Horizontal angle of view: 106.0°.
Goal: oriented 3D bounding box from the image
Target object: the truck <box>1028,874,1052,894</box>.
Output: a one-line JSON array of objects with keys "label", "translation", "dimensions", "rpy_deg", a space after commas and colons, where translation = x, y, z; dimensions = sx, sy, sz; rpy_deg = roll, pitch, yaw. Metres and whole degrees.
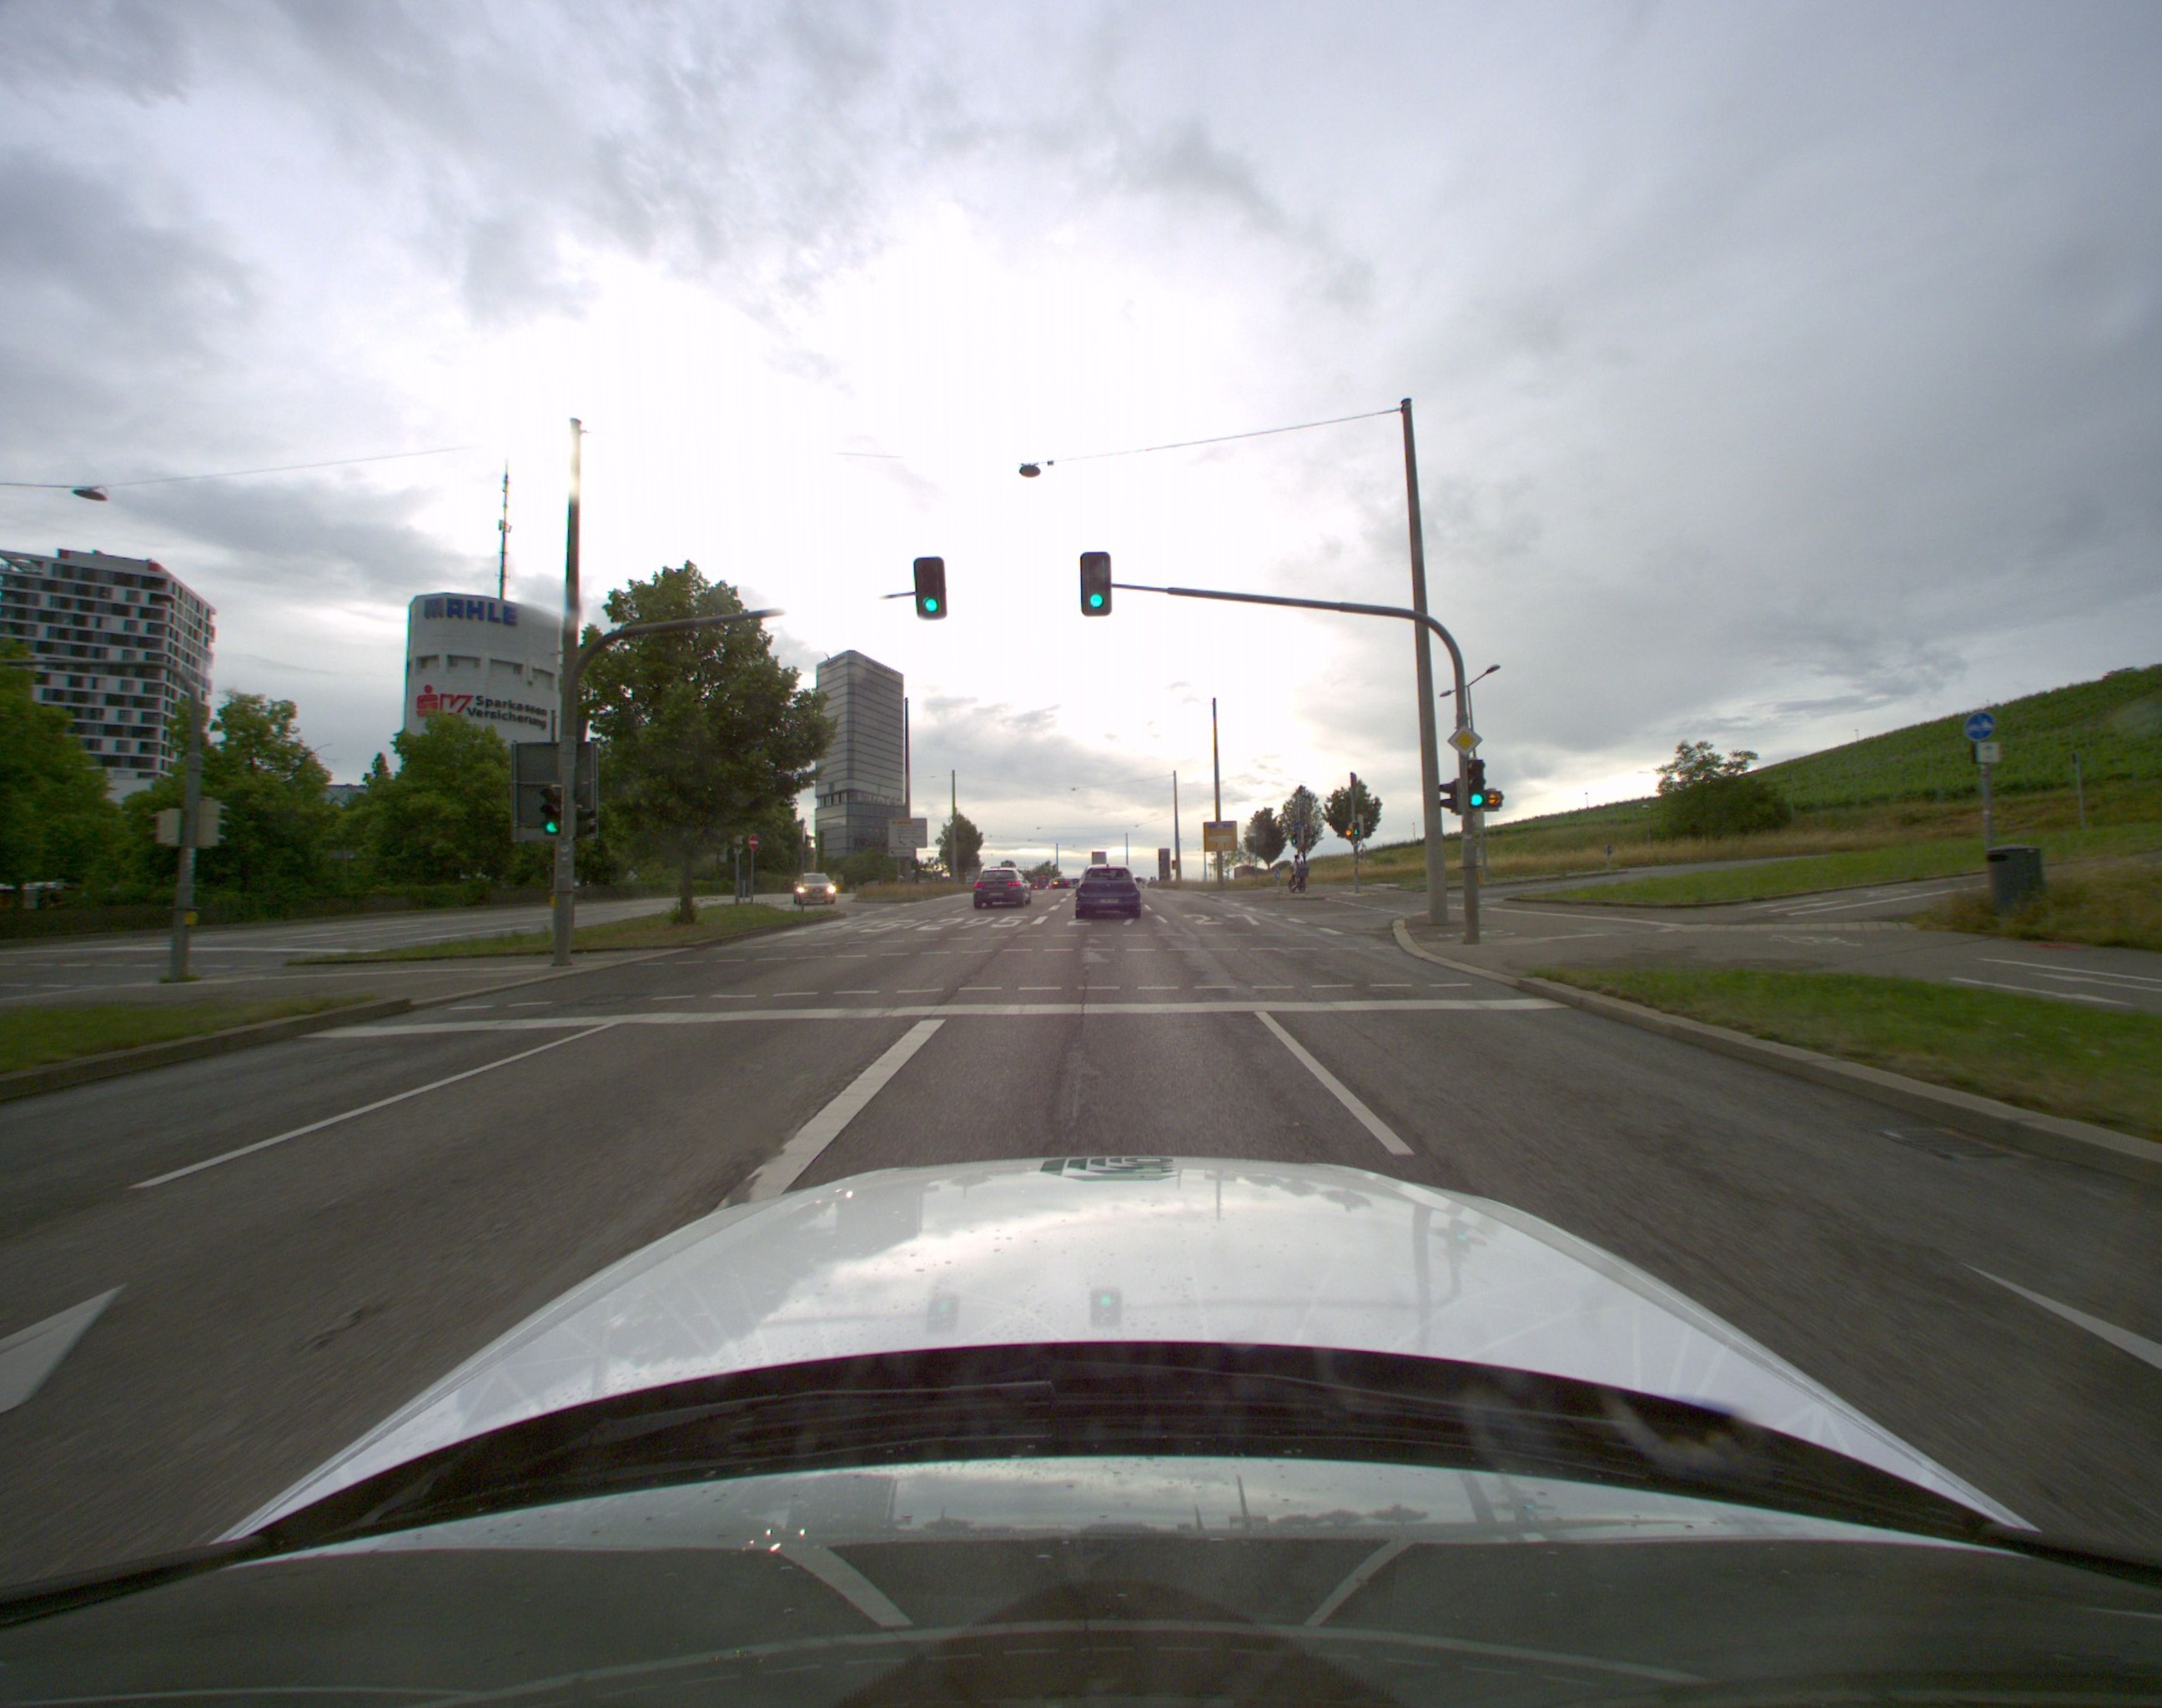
[{"label": "truck", "translation": [-6.862, 4.997, 135.700], "dimensions": [2.672, 3.221, 6.511], "rpy_deg": [1, -3, -16]}]

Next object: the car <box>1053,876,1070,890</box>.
[{"label": "car", "translation": [-2.257, 3.352, 94.685], "dimensions": [1.715, 1.541, 3.706], "rpy_deg": [1, -1, 3]}]

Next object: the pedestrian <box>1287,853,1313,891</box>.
[{"label": "pedestrian", "translation": [9.561, 0.779, 35.579], "dimensions": [0.633, 1.570, 0.892], "rpy_deg": [-5, -1, -11]}]

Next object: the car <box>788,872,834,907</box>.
[{"label": "car", "translation": [-12.859, 1.656, 38.682], "dimensions": [1.896, 1.507, 3.972], "rpy_deg": [-2, -1, -21]}]

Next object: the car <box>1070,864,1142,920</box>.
[{"label": "car", "translation": [0.733, 1.007, 23.018], "dimensions": [1.831, 1.393, 4.002], "rpy_deg": [-1, -1, 2]}]

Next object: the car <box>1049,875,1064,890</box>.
[{"label": "car", "translation": [-3.614, 4.255, 119.489], "dimensions": [1.902, 1.973, 5.080], "rpy_deg": [-2, -4, -6]}]

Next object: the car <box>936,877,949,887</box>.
[{"label": "car", "translation": [-23.563, 4.722, 138.191], "dimensions": [1.895, 1.658, 4.584], "rpy_deg": [0, -3, -12]}]

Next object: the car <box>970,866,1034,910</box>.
[{"label": "car", "translation": [-2.840, 1.194, 29.998], "dimensions": [1.862, 1.461, 3.976], "rpy_deg": [-1, -1, 1]}]

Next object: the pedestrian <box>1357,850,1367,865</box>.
[{"label": "pedestrian", "translation": [39.834, 0.454, 115.357], "dimensions": [0.784, 2.014, 1.044], "rpy_deg": [-2, -2, -31]}]

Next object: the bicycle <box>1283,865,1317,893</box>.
[{"label": "bicycle", "translation": [9.577, 1.102, 35.615], "dimensions": [0.633, 1.105, 1.746], "rpy_deg": [-6, -1, -11]}]
